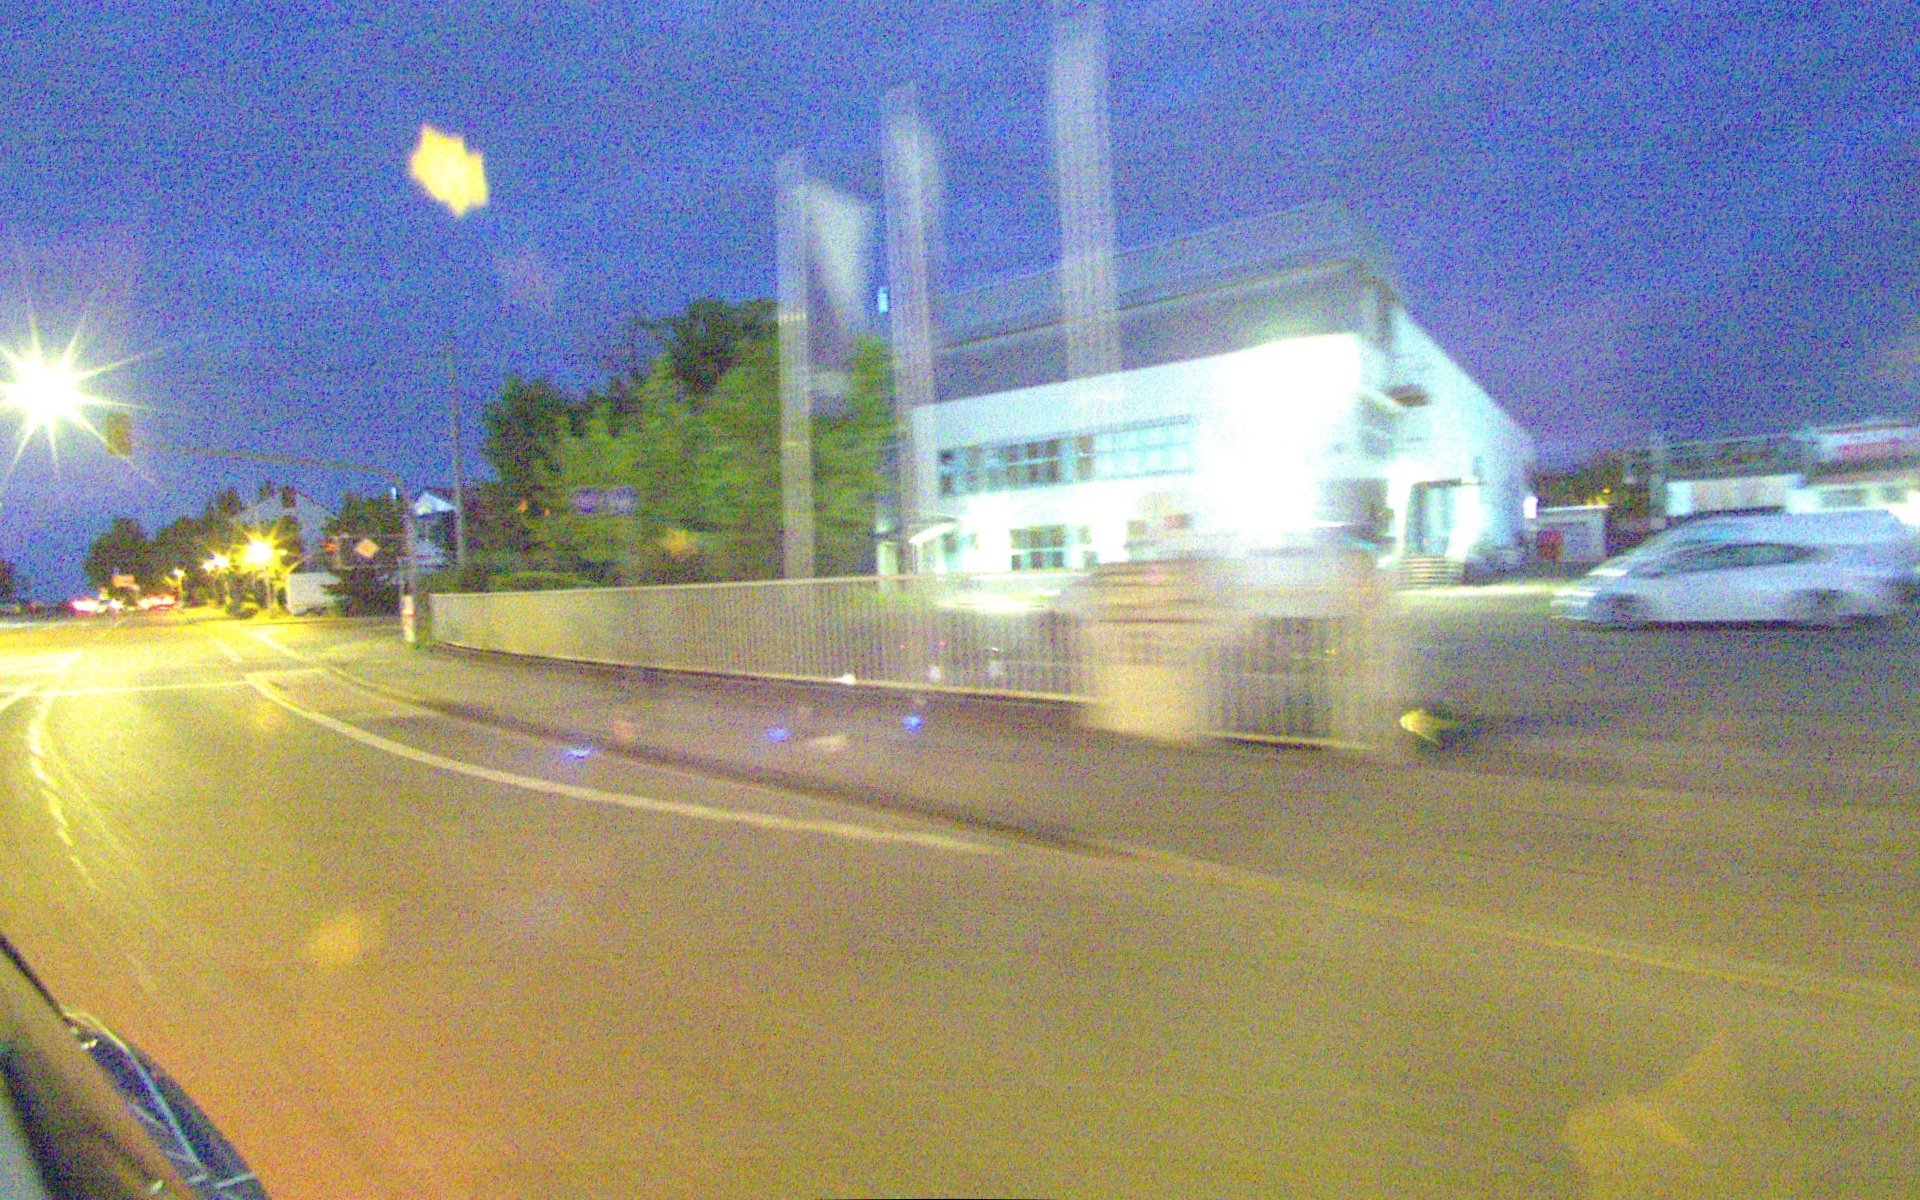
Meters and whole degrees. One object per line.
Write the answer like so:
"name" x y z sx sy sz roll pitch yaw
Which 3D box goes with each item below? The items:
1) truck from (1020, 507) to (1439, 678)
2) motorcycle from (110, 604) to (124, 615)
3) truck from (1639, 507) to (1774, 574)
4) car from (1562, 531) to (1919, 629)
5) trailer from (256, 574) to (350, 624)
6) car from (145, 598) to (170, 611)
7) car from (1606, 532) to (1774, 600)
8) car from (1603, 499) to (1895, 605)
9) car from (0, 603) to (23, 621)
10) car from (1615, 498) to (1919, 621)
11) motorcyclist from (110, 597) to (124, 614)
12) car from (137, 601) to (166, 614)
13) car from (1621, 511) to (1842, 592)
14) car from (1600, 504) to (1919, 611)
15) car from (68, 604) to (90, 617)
"truck" 3.461 -0.099 13.956 1.970 1.914 5.322 -3 2 -43
"motorcycle" -97.099 1.085 116.543 0.986 1.314 2.828 -3 2 -44
"truck" 31.704 -2.489 43.071 4.519 2.558 1.974 -1 1 39
"car" 12.990 -0.297 17.196 4.608 1.475 1.825 -1 1 36
"trailer" -37.733 -0.053 58.168 4.293 2.740 2.004 -1 0 -40
"car" -92.157 0.527 116.166 1.827 1.456 4.921 -3 2 -43
"car" 26.236 -1.160 36.589 4.779 2.262 1.865 -1 0 35
"car" 18.868 -1.094 24.628 5.393 2.251 2.005 -1 1 33
"car" -90.074 1.136 95.744 4.002 1.563 1.913 -1 2 45
"car" 15.055 -0.702 18.888 4.674 2.028 1.978 -1 1 33
"motorcyclist" -97.034 0.681 116.431 0.834 1.914 1.121 0 2 45
"car" -96.211 0.892 120.449 4.597 1.390 1.972 -1 2 42
"car" 21.523 -1.285 28.527 4.779 2.029 1.865 -1 0 35
"car" 17.264 -0.837 21.966 5.407 2.019 2.227 -1 2 42
"car" -113.700 1.354 130.623 1.968 1.639 4.761 -3 2 -39
